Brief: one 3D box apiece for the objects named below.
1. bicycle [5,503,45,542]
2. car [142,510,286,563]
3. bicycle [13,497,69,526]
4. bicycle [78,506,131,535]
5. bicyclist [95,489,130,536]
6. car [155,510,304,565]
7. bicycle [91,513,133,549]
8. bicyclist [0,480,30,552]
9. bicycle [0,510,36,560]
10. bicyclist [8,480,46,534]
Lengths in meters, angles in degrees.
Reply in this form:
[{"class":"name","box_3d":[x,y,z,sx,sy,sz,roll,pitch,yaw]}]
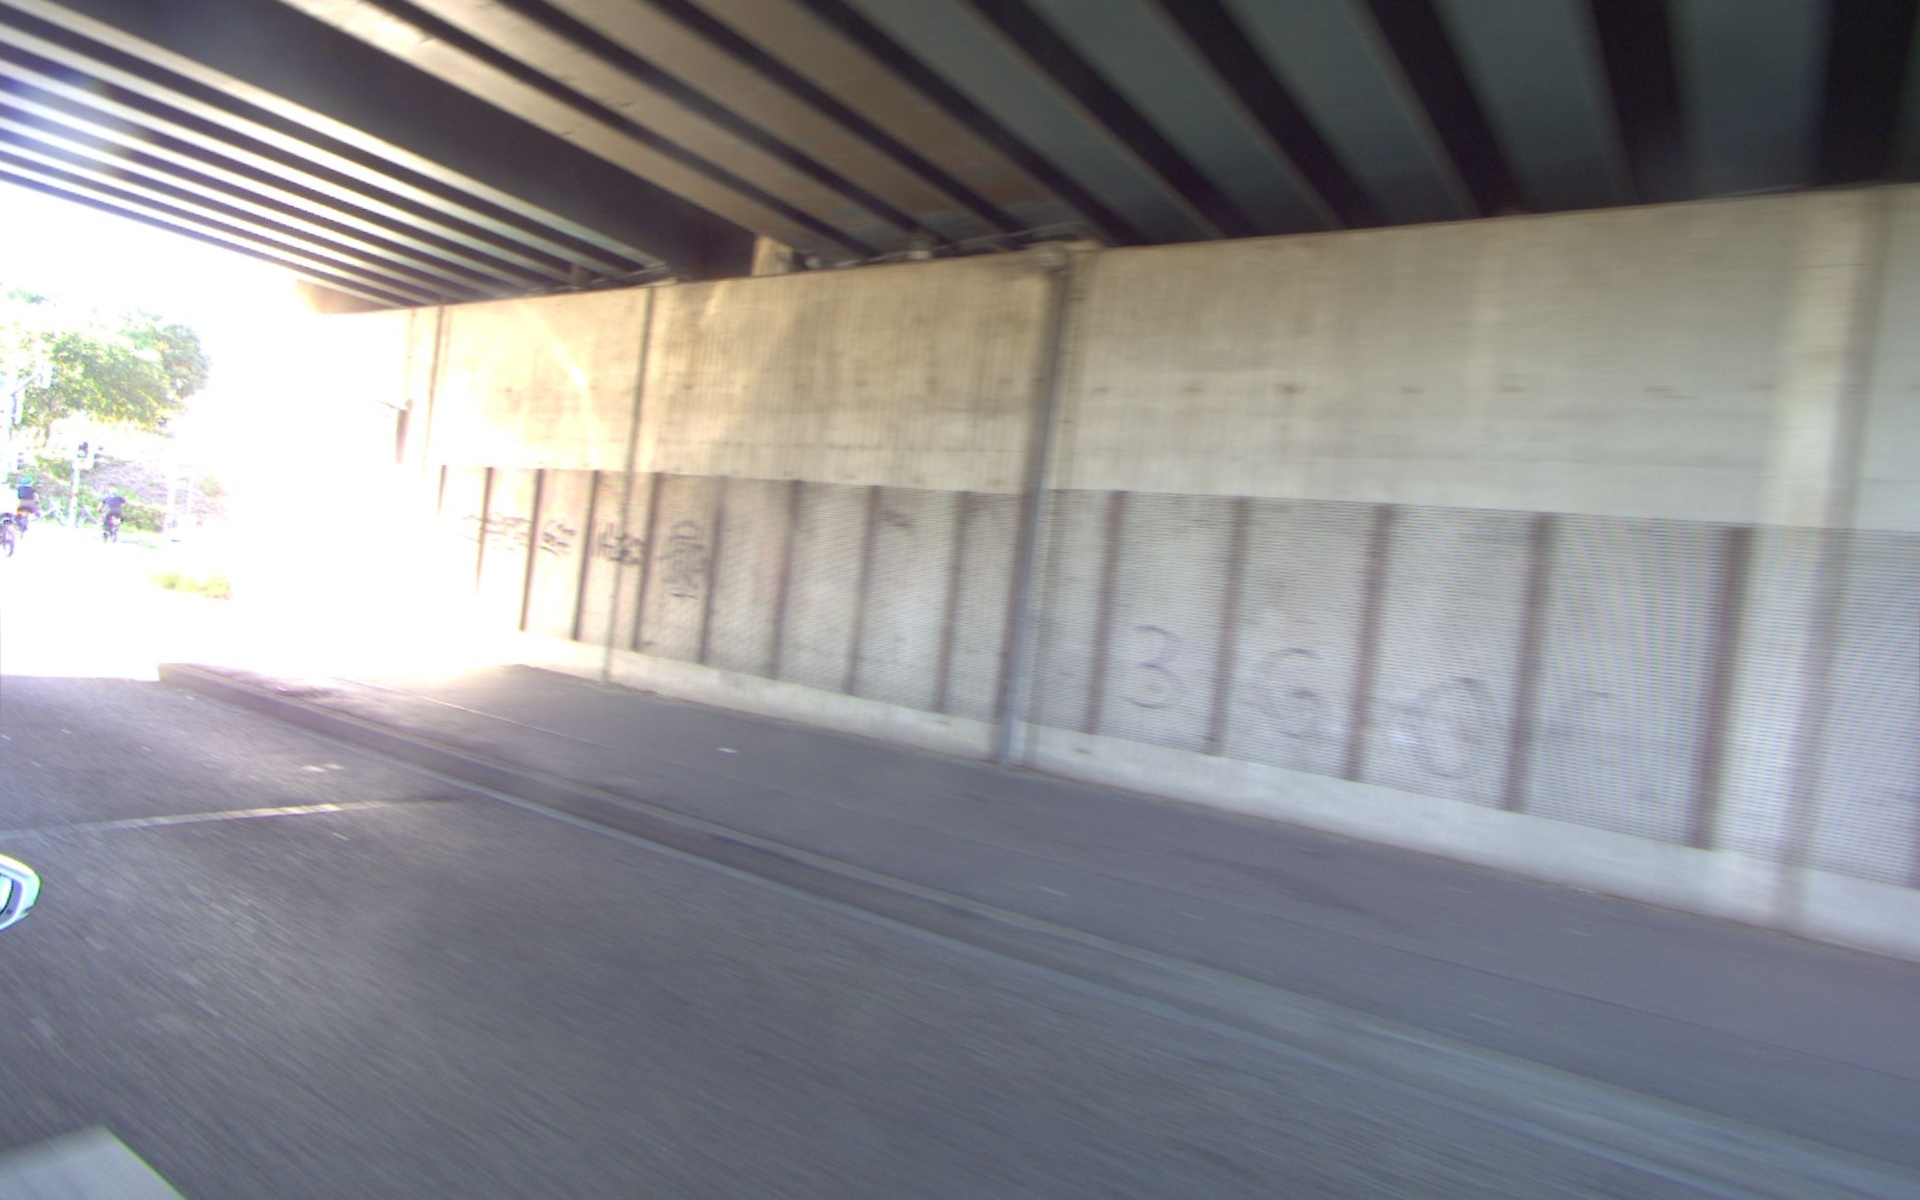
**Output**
[{"class":"bicycle","box_3d":[-28.023,-2.317,30.139,2.028,1.035,0.670,5,-2,43]},{"class":"car","box_3d":[-31.798,-2.686,42.988,1.801,1.531,4.548,5,-3,38]},{"class":"bicycle","box_3d":[-41.561,-3.990,45.496,0.585,1.035,1.744,5,-2,40]},{"class":"bicycle","box_3d":[-39.639,-3.663,46.604,0.586,1.035,1.742,5,-2,42]},{"class":"bicyclist","box_3d":[-29.059,-3.007,34.492,0.609,1.499,0.649,8,0,36]},{"class":"car","box_3d":[-29.901,-2.530,41.303,1.801,1.531,4.548,5,-3,38]},{"class":"bicycle","box_3d":[-29.019,-2.376,34.418,1.723,1.036,0.667,8,0,37]},{"class":"bicyclist","box_3d":[-21.871,-1.932,22.992,0.756,1.566,0.593,6,-1,31]},{"class":"bicycle","box_3d":[-21.891,-1.518,23.002,1.721,1.035,0.593,5,-2,32]},{"class":"bicyclist","box_3d":[-27.869,-2.771,30.048,0.741,1.491,0.663,5,-2,44]}]
